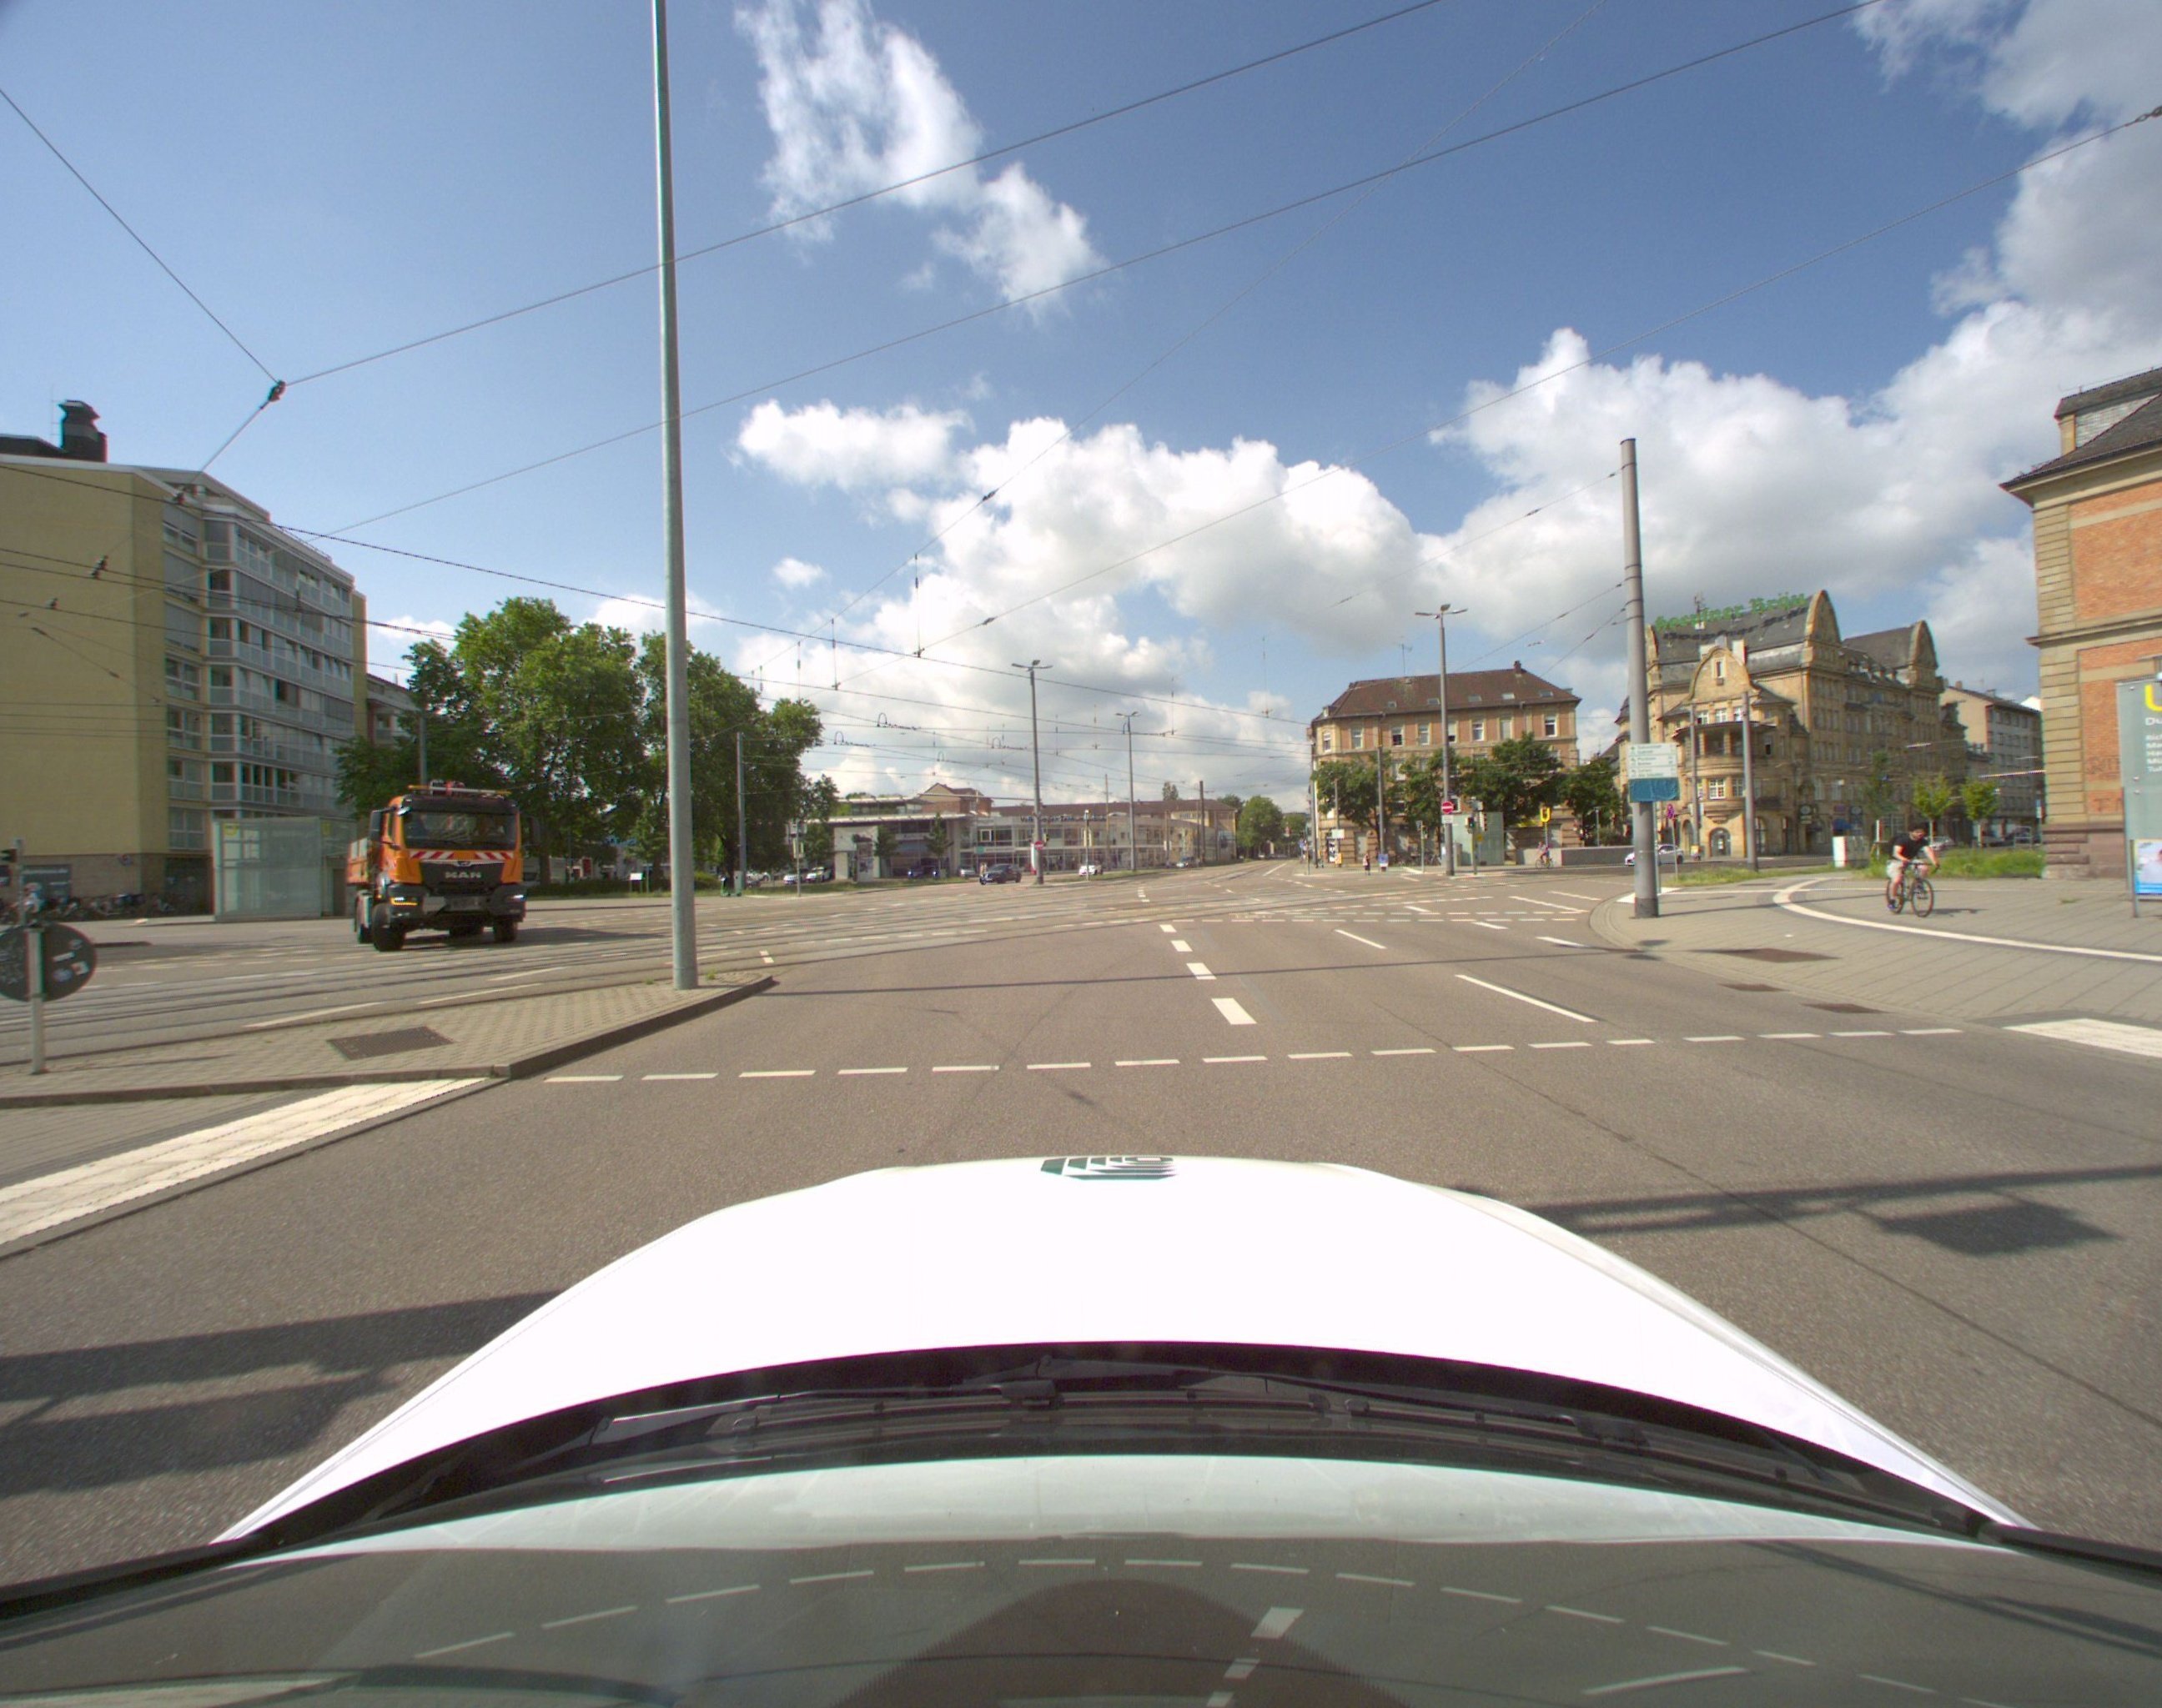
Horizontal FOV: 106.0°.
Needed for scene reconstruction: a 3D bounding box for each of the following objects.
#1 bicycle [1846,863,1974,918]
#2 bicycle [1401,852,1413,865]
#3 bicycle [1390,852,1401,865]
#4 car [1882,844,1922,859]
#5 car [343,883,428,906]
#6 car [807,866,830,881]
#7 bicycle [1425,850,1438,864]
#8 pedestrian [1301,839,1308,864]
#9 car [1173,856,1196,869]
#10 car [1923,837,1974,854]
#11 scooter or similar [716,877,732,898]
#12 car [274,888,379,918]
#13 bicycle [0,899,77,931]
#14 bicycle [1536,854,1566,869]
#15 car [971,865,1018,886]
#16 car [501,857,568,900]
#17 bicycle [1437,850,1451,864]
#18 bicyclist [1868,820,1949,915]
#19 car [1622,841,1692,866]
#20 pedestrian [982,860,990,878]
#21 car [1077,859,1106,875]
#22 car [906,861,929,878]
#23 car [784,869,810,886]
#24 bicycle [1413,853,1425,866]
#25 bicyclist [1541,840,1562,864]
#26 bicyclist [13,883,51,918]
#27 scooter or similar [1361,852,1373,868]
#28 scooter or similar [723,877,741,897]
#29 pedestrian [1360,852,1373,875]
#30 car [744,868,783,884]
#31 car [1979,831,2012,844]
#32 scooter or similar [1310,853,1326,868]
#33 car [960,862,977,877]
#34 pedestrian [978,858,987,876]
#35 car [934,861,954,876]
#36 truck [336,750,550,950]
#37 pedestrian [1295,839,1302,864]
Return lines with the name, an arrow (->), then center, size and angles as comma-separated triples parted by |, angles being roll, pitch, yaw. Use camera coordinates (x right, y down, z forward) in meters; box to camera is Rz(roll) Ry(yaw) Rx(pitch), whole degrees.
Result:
bicycle -> 15.220, 0.640, 15.023 | 0.753, 0.875, 1.816 | -5, -1, 13
bicycle -> 29.587, 0.373, 73.920 | 0.753, 1.165, 2.697 | 0, 0, 18
bicycle -> 28.686, 0.380, 74.297 | 0.753, 1.166, 2.697 | -2, -1, 18
car -> 81.571, -0.217, 80.906 | 4.012, 1.384, 1.852 | 1, -2, -31
car -> -48.465, 2.779, 56.856 | 4.092, 1.514, 1.798 | 0, -2, -18
car -> -30.948, 2.318, 96.076 | 1.784, 1.682, 3.989 | -2, -1, -8
bicycle -> 31.484, 0.285, 73.200 | 0.753, 1.166, 2.697 | -2, -1, 18
pedestrian -> 27.464, -0.309, 100.038 | 0.718, 3.076, 0.893 | -1, -2, 25
car -> 12.957, 1.038, 102.265 | 1.976, 1.574, 3.756 | -2, -1, 21
car -> 83.428, -0.817, 78.315 | 3.998, 1.596, 1.827 | 0, -2, -18
scooter or similar -> -20.830, 1.963, 47.478 | 1.051, 1.197, 0.384 | -1, -2, 37
car -> -44.004, 2.824, 47.582 | 4.093, 1.514, 1.798 | -2, -1, -18
bicycle -> -40.978, 2.381, 31.879 | 0.539, 1.106, 2.106 | -2, -1, 11
bicycle -> 32.941, 0.504, 57.029 | 1.780, 0.956, 0.840 | -2, -2, -21
car -> -6.277, 1.560, 59.340 | 1.849, 1.376, 3.959 | -2, -1, 19
car -> -41.712, 1.845, 62.424 | 1.997, 3.043, 7.210 | -2, -1, -15
bicycle -> 32.625, 0.251, 73.196 | 0.753, 1.166, 2.697 | -2, -1, 17
bicyclist -> 15.299, 0.248, 15.080 | 0.573, 1.672, 0.940 | -3, -1, 13
car -> 38.502, -0.005, 54.471 | 4.516, 1.596, 1.940 | 1, -2, -27
pedestrian -> -10.884, 1.699, 93.669 | 0.868, 2.014, 0.702 | -2, -1, -8
car -> 1.090, 1.300, 80.643 | 1.671, 1.470, 3.675 | -1, -1, 21
car -> -19.084, 1.864, 95.150 | 1.990, 1.838, 3.994 | -2, -1, -4
car -> -33.305, 2.757, 95.613 | 1.992, 2.014, 3.988 | 1, -2, -8
bicycle -> 30.487, 0.512, 73.527 | 0.753, 1.166, 2.697 | -1, -1, 18
bicyclist -> 32.924, -0.147, 57.028 | 1.148, 1.675, 0.611 | -1, -1, -20
bicyclist -> -40.958, 1.792, 31.814 | 0.391, 1.336, 0.786 | 0, -2, 10
scooter or similar -> 26.095, 0.550, 74.316 | 0.871, 1.482, 2.022 | -2, -1, 16
scooter or similar -> -20.613, 1.946, 48.075 | 1.051, 1.197, 0.384 | -1, -2, 27
pedestrian -> 19.128, 0.645, 54.506 | 0.733, 1.516, 0.548 | -2, -1, 23
car -> -39.794, 2.726, 102.142 | 3.968, 2.014, 2.003 | 0, -2, 5
car -> 108.565, -1.925, 96.714 | 4.013, 1.384, 1.851 | 0, -2, -31
scooter or similar -> 22.209, 0.629, 76.316 | 1.169, 1.386, 2.811 | 0, -1, 10
car -> -13.352, 1.852, 96.700 | 1.927, 1.684, 3.987 | 0, -1, -9
pedestrian -> -11.049, 1.449, 91.014 | 0.804, 2.014, 0.809 | -2, -1, 2
car -> -15.934, 1.741, 94.845 | 1.991, 1.726, 3.992 | 0, -1, -5
truck -> -15.959, -0.011, 20.098 | 7.969, 4.009, 2.854 | -1, -1, 42
pedestrian -> 26.770, -0.300, 100.396 | 0.660, 3.121, 0.893 | -1, -2, 25
